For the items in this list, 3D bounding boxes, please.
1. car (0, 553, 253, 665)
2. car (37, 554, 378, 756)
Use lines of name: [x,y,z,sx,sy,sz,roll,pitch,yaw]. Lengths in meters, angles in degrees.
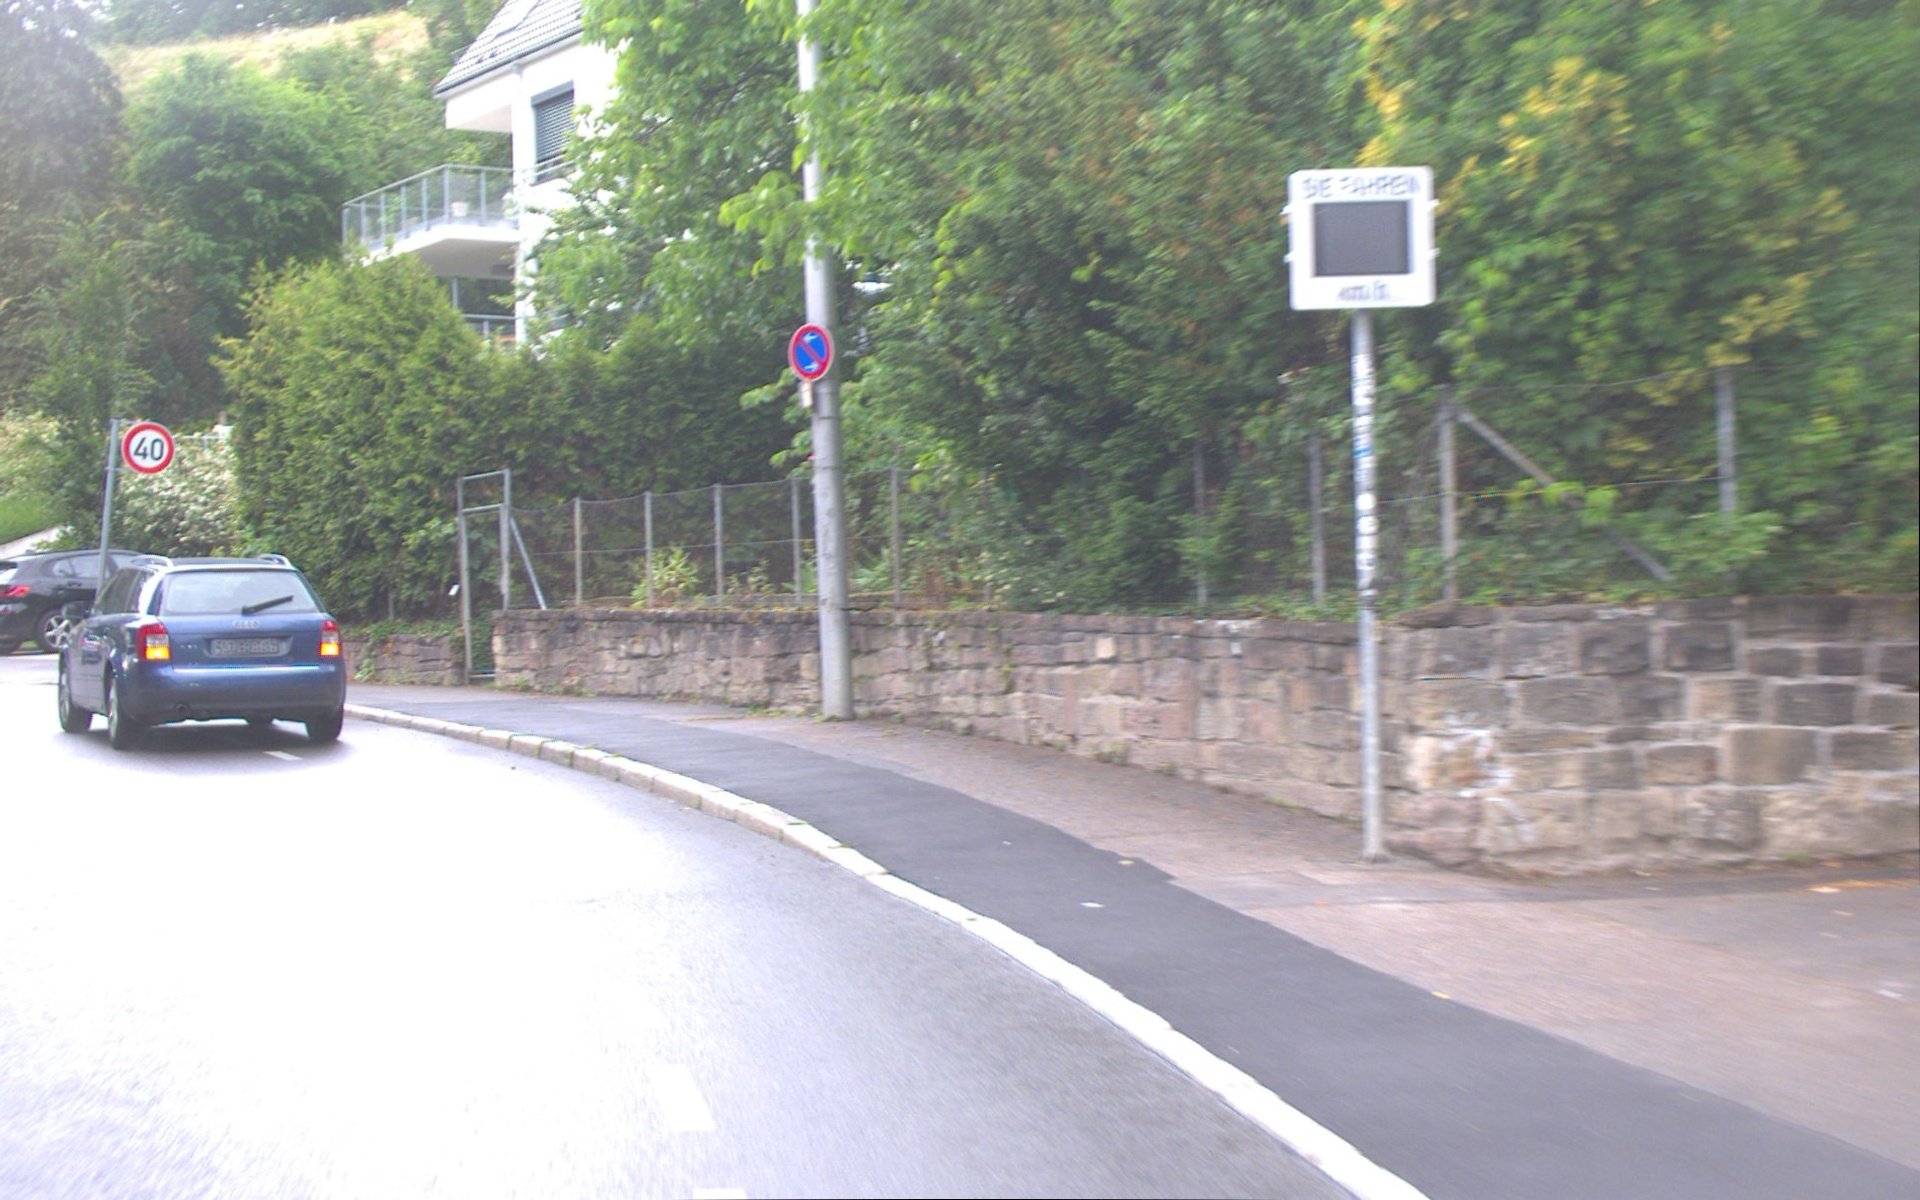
car: [-12.450,0.098,49.582,1.739,1.503,4.172,0,1,43]
car: [-6.053,0.368,27.284,1.853,1.409,4.362,-1,2,-23]
